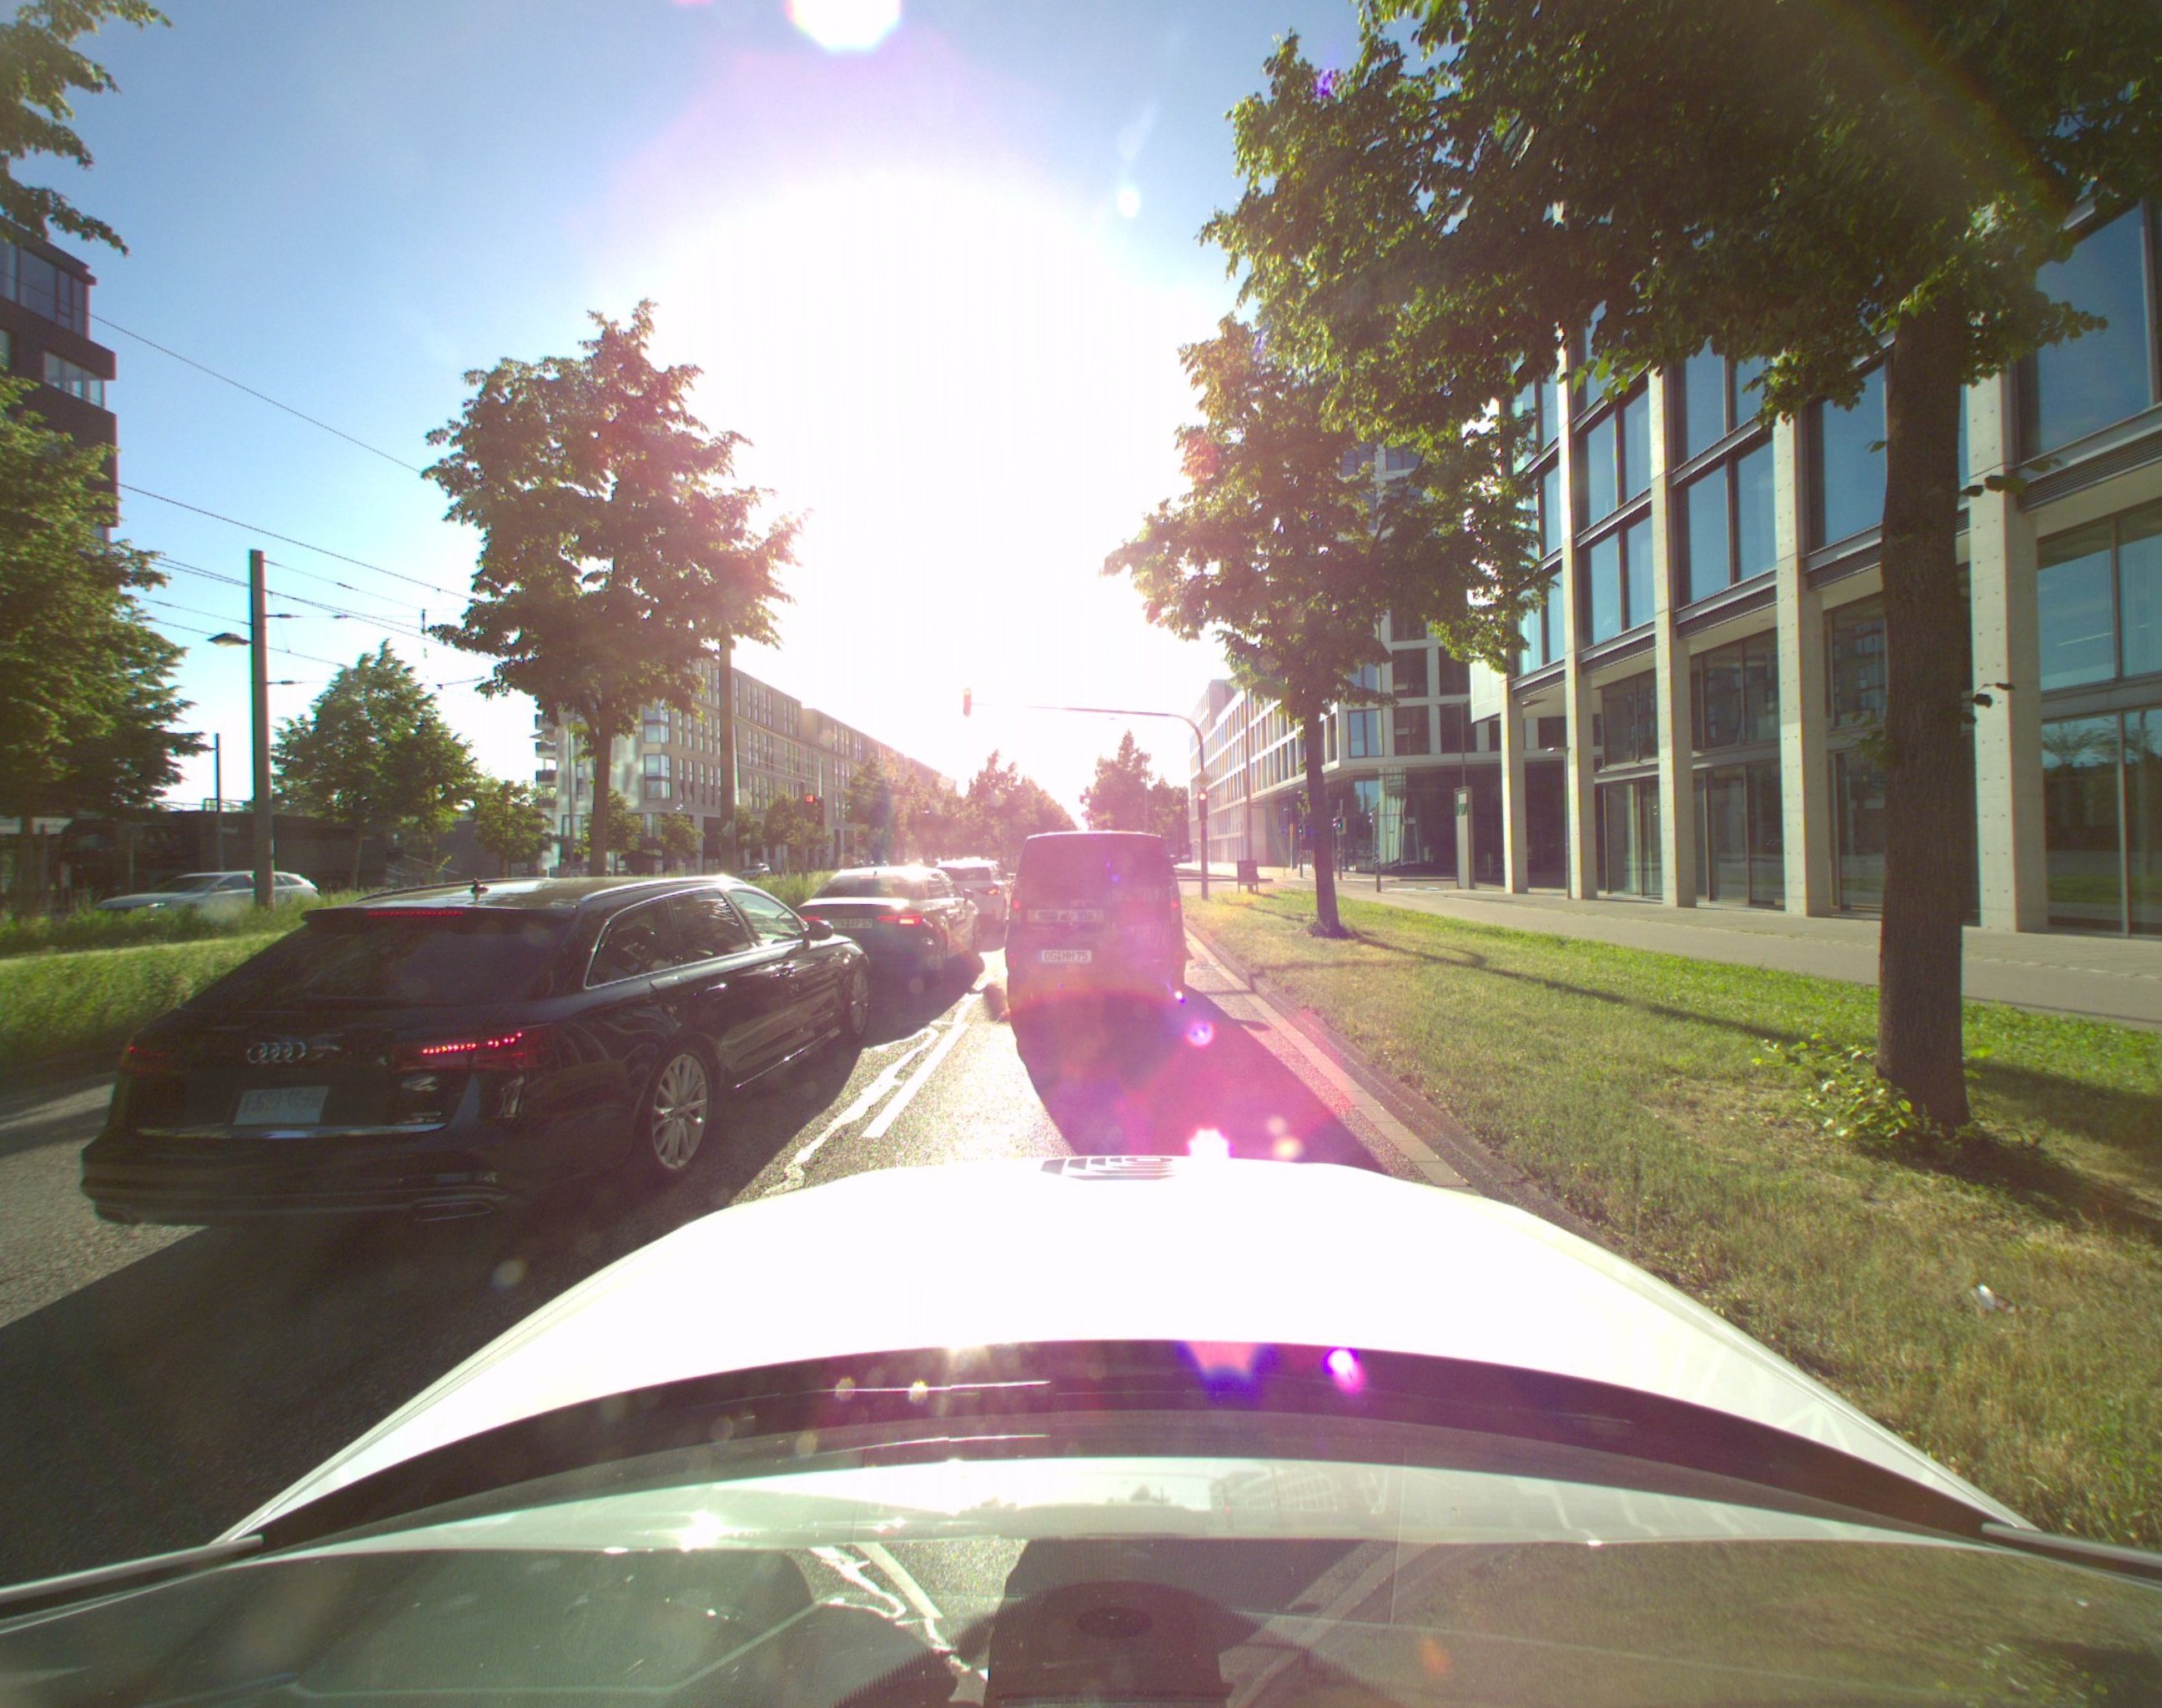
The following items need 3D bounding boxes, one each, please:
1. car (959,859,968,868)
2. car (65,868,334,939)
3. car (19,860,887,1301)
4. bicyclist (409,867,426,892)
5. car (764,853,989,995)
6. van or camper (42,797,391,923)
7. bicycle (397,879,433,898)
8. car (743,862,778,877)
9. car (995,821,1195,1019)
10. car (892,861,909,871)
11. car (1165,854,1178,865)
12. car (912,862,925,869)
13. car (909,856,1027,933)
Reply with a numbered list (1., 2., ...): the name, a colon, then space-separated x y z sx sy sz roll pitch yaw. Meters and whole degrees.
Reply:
1. car: -28.455 2.374 197.353 1.723 2.013 3.999 -1 0 -1
2. car: -22.575 1.182 21.219 1.848 1.537 4.734 -1 0 -1
3. car: -2.726 0.807 5.083 1.801 1.457 4.509 -1 0 2
4. bicyclist: -38.462 1.462 47.223 0.490 1.406 0.626 0 -1 1
5. car: -2.487 0.771 11.002 1.801 1.527 4.115 -1 0 2
6. van or camper: -33.502 0.231 32.580 2.743 4.192 10.234 -1 0 2
7. bicycle: -38.481 2.011 47.083 0.525 1.034 1.848 0 -1 2
8. car: -31.533 1.495 80.267 1.574 1.342 4.473 -1 0 1
9. car: 0.221 0.606 9.547 1.801 1.794 4.115 -1 0 2
10. car: -29.747 2.014 134.260 1.769 1.528 3.807 -1 0 1
11. car: 14.210 0.803 127.741 1.750 1.611 3.906 -1 0 3
12. car: -29.878 2.096 150.159 1.574 1.342 3.713 -1 0 1
13. car: -2.308 0.780 17.692 1.801 1.434 4.115 -1 0 2
